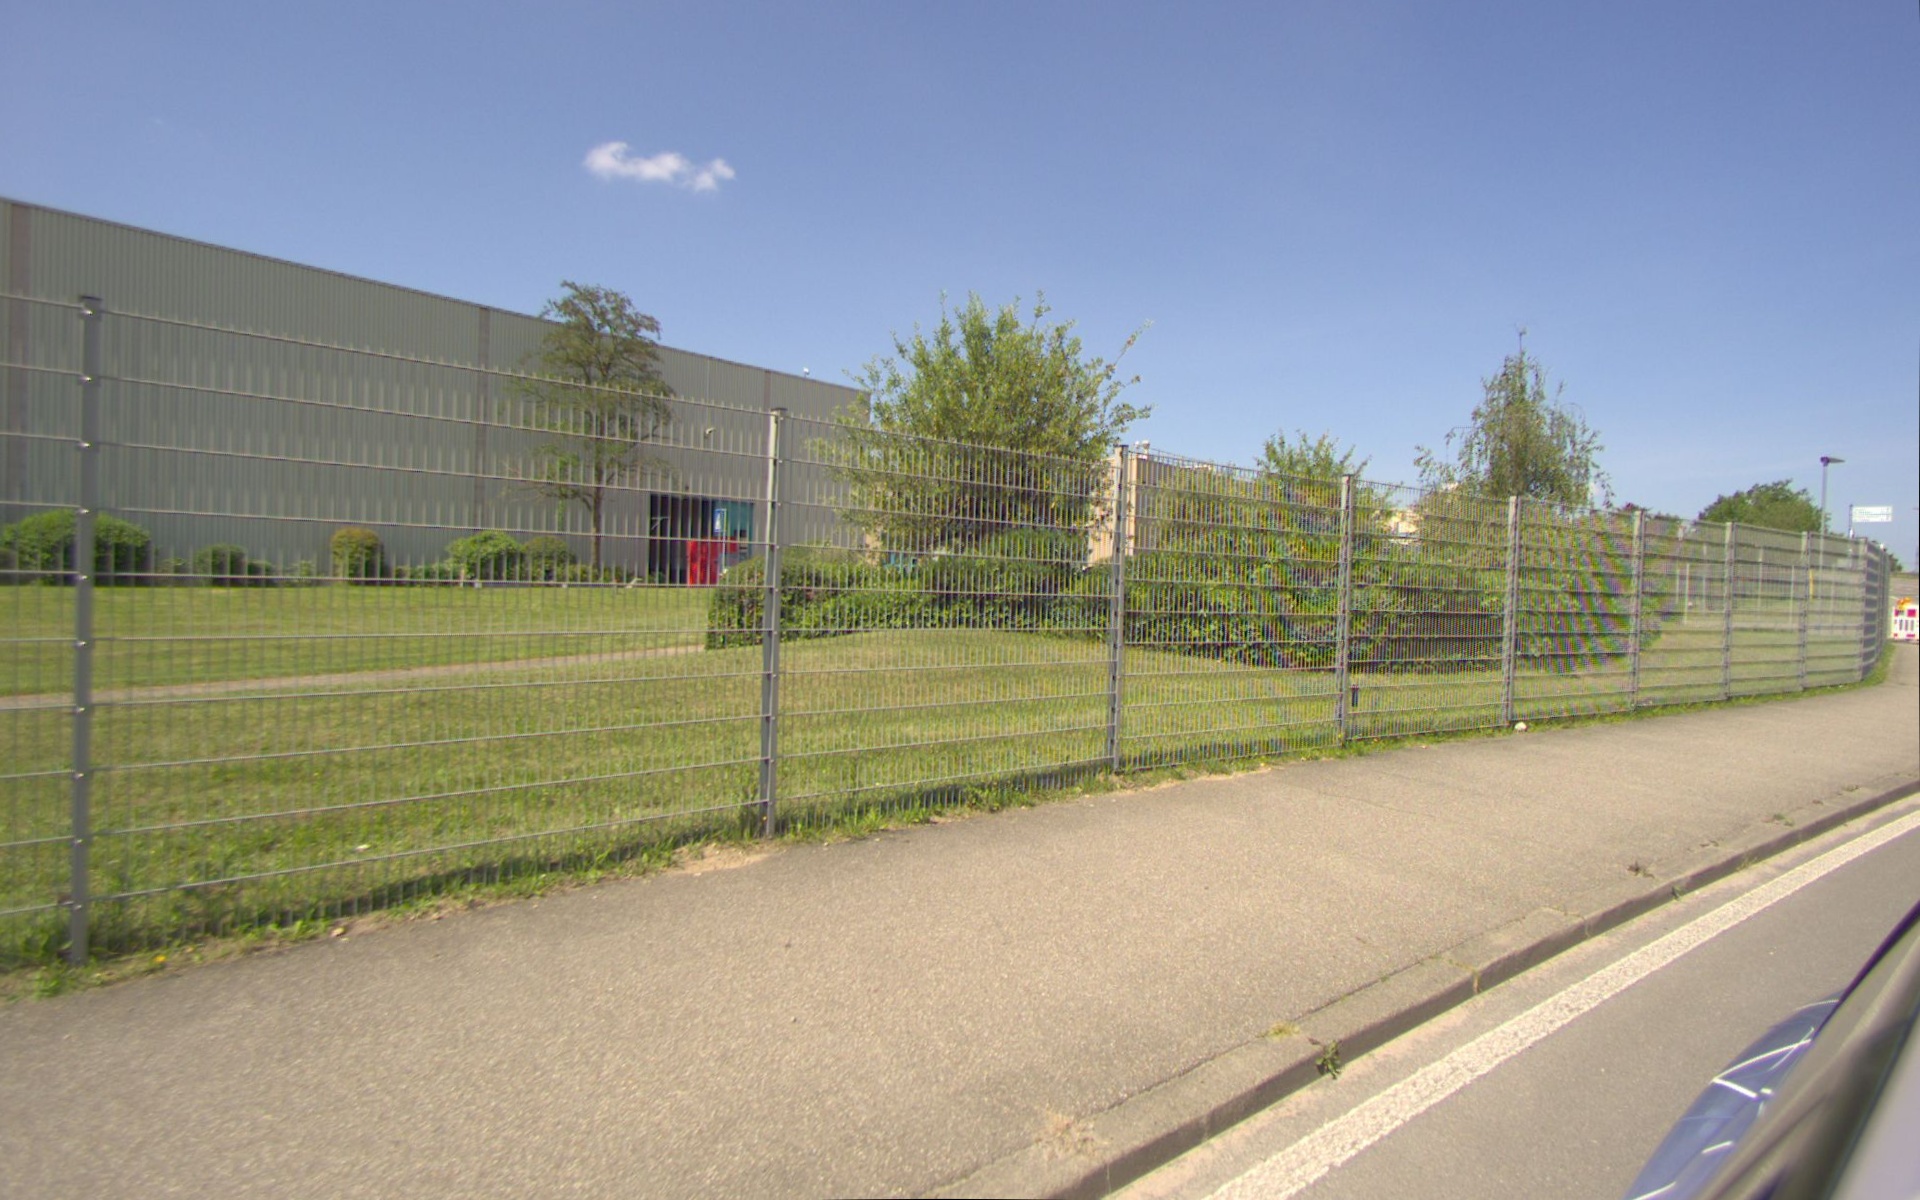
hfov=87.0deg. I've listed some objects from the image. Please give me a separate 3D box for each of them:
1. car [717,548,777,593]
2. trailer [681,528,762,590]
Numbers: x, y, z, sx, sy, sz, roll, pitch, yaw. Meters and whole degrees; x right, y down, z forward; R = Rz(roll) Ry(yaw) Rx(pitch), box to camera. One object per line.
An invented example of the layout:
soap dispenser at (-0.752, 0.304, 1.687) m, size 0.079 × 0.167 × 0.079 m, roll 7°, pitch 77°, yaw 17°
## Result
car at (-9.353, -1.302, 44.215) m, size 1.861 × 1.838 × 4.009 m, roll 1°, pitch 2°, yaw -22°
trailer at (-11.534, -1.966, 48.525) m, size 1.961 × 2.755 × 5.994 m, roll 1°, pitch 2°, yaw -32°
